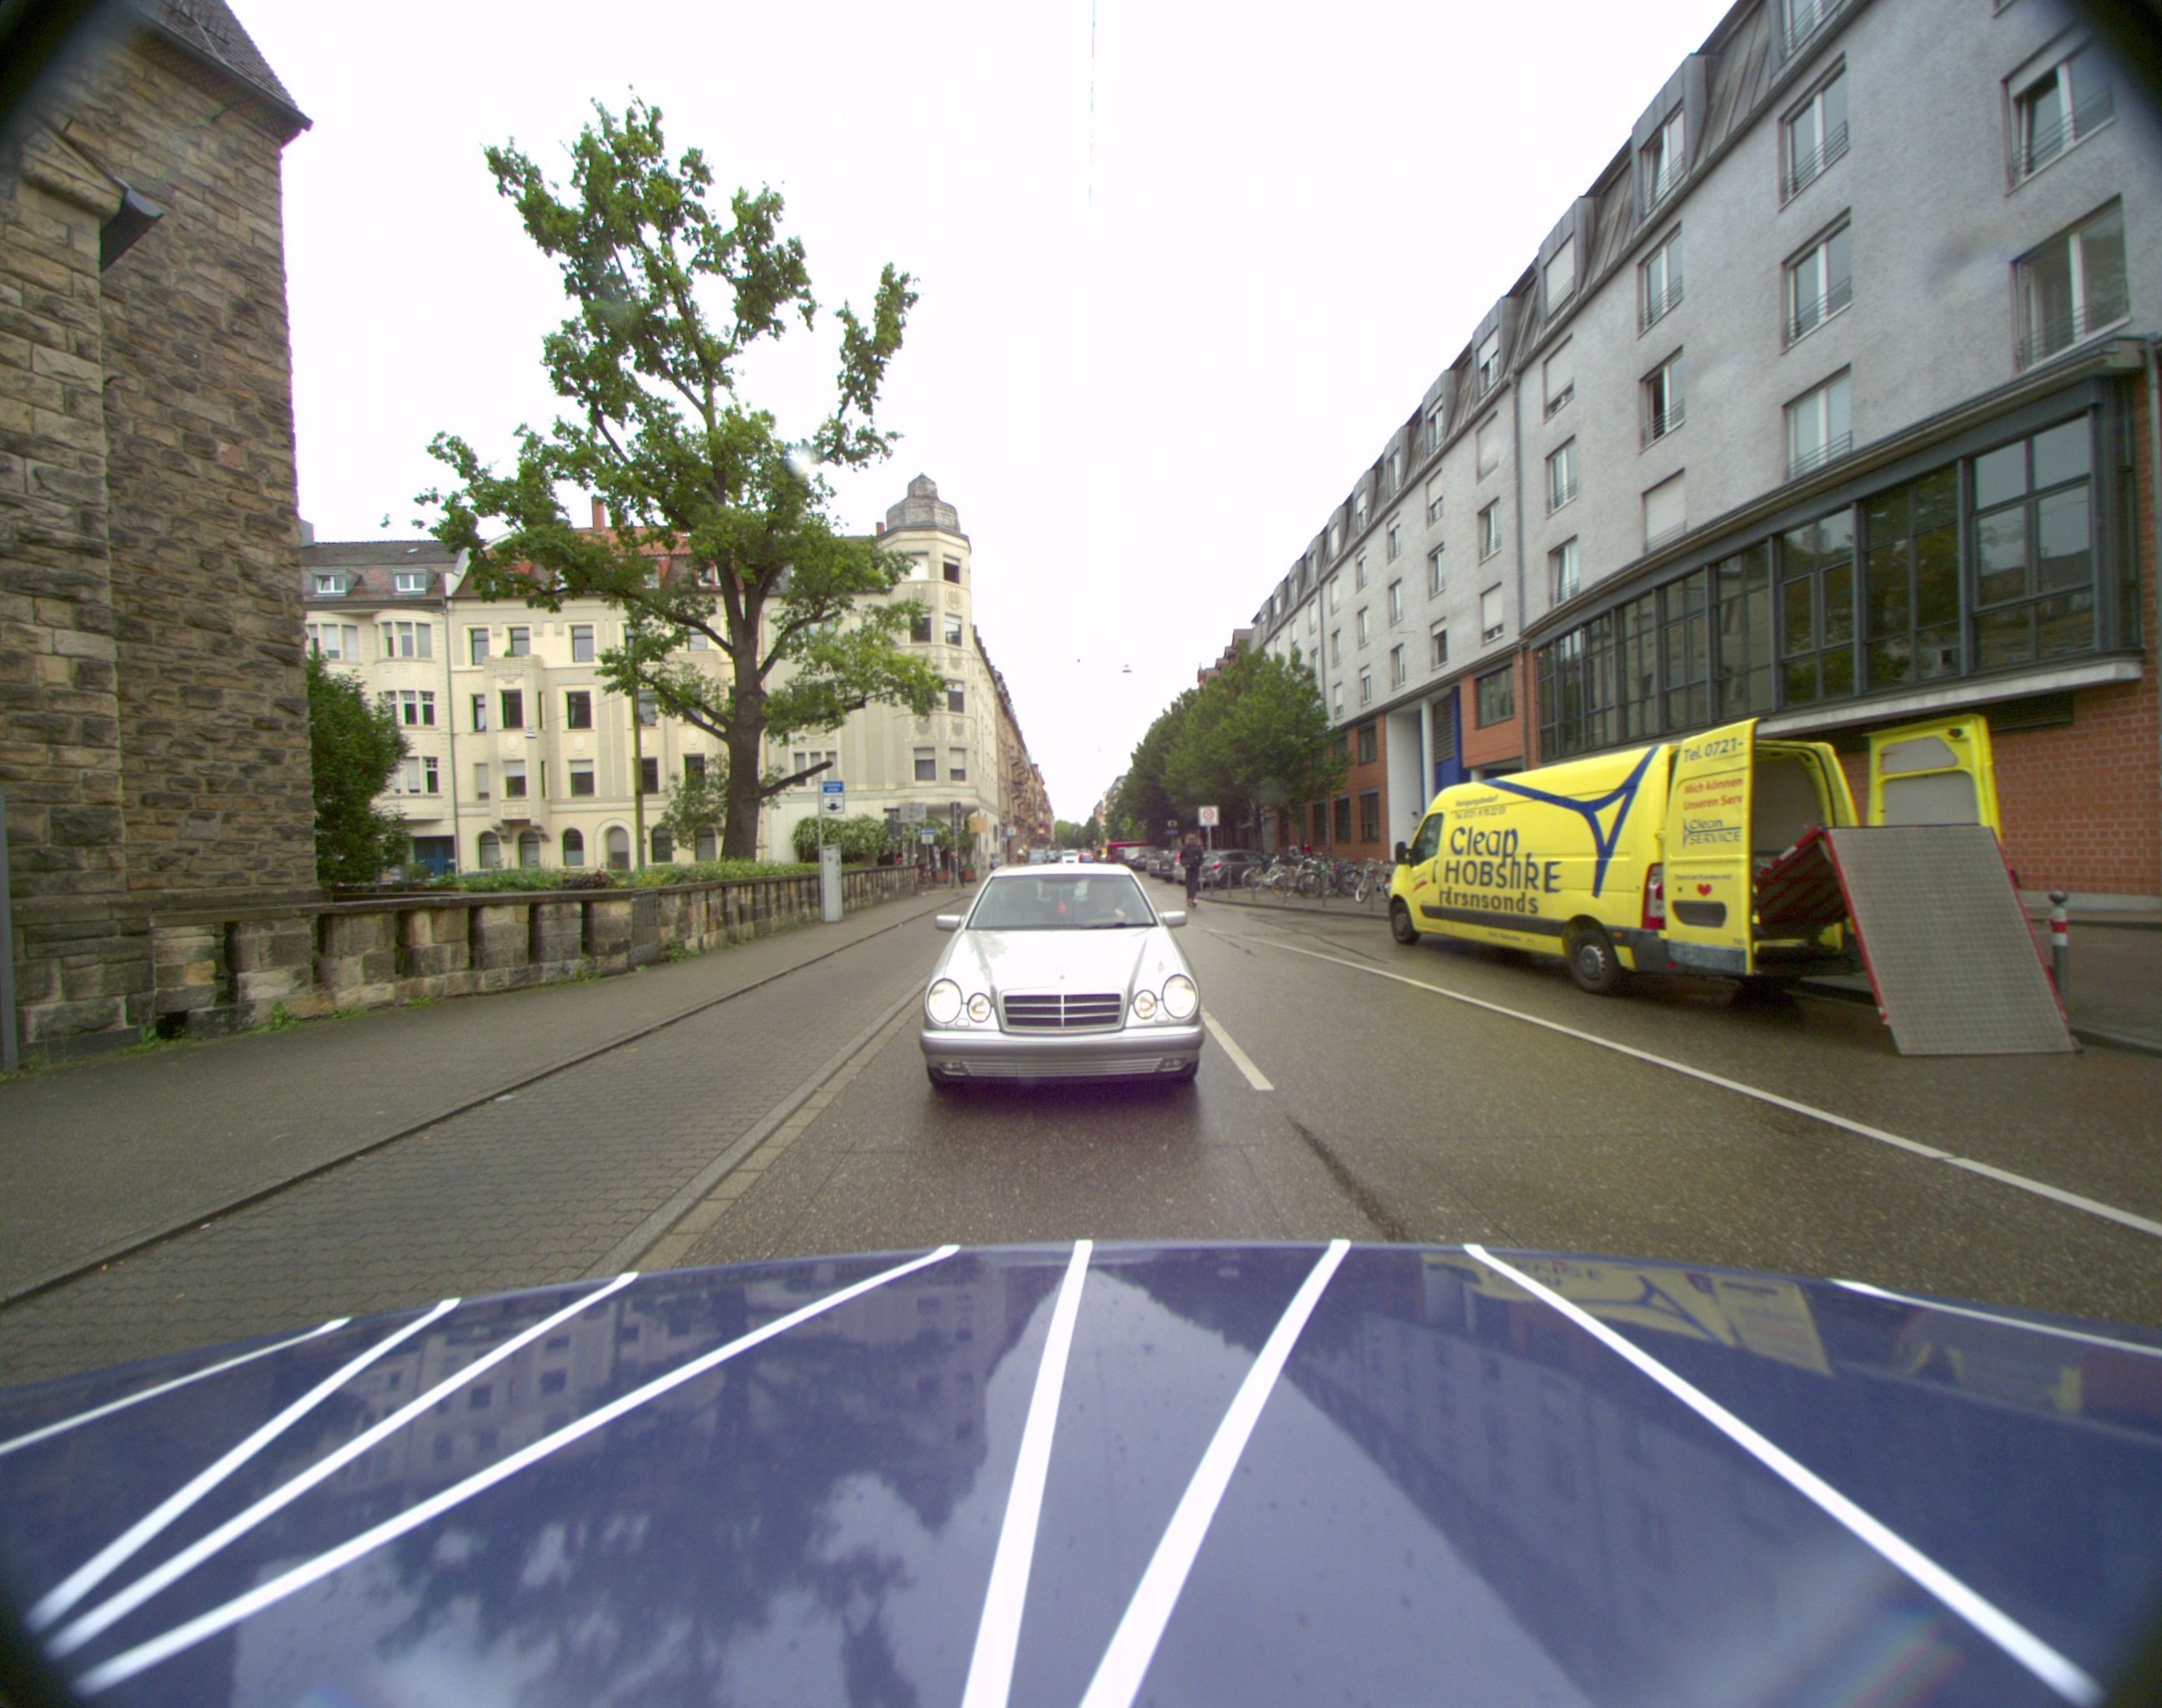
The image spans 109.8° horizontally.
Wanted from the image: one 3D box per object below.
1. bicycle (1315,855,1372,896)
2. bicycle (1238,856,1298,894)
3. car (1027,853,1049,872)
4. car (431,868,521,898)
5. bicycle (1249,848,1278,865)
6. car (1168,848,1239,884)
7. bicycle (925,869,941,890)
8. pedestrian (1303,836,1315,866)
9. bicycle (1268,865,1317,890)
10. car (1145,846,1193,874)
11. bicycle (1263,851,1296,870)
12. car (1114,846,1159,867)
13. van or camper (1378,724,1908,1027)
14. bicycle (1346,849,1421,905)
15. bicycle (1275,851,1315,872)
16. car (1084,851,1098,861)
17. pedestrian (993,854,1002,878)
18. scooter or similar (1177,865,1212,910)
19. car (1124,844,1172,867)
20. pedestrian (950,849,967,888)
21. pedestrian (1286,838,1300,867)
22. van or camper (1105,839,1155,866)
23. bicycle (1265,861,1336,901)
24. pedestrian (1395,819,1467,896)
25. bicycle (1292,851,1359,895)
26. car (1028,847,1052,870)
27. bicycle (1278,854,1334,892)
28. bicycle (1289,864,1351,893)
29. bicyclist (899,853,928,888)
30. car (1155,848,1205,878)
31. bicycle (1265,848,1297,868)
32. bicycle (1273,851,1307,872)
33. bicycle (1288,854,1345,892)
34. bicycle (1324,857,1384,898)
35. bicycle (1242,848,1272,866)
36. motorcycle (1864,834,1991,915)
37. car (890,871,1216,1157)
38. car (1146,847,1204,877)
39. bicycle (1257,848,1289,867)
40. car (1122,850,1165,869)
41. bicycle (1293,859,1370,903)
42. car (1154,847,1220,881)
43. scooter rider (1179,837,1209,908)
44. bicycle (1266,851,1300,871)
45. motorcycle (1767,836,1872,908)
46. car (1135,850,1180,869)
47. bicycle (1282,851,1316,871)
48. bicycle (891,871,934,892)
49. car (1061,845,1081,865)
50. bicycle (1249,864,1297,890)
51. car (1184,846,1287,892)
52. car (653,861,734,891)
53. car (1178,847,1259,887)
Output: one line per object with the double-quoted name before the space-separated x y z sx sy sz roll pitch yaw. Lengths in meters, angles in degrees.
"bicycle" 7.475 0.619 21.695 1.461 1.096 0.462 -3 1 14
"bicycle" 6.124 0.680 24.932 1.812 1.099 0.472 -3 1 -5
"car" -3.138 0.634 56.442 1.447 1.348 3.204 -1 0 0
"car" -29.705 1.418 37.363 3.270 1.401 1.448 -1 1 3
"bicycle" 10.793 0.132 44.981 1.590 0.979 0.465 -2 1 -8
"car" 5.603 0.531 34.597 3.084 1.494 1.449 -3 1 -40
"bicycle" -7.311 1.238 37.675 0.390 0.888 2.023 -1 3 0
"pedestrian" 12.495 -0.157 41.695 0.514 1.601 0.425 -2 1 1
"bicycle" 7.042 0.780 25.389 1.473 0.717 0.497 -3 1 3
"car" 5.331 0.387 45.978 2.685 1.546 1.148 -3 1 -29
"bicycle" 10.469 0.338 40.027 1.590 0.979 0.445 -2 1 -8
"car" 5.188 0.220 70.674 4.338 1.822 1.571 -1 1 -41
"van or camper" 6.047 0.168 9.559 2.201 2.596 5.941 -1 0 -1
"bicycle" 7.607 0.553 19.079 1.922 1.209 0.768 -6 3 -35
"bicycle" 10.605 0.380 37.639 1.851 0.979 0.445 -2 1 -8
"car" 1.301 0.238 98.220 1.651 1.301 3.311 -1 0 -3
"pedestrian" -5.036 0.723 45.668 0.482 1.452 0.392 -1 1 -1
"scooter or similar" 3.110 0.907 20.862 0.702 1.158 1.385 -1 1 -2
"car" 5.978 0.119 67.162 4.338 1.884 1.685 -1 1 -41
"pedestrian" -5.901 0.706 36.669 0.646 1.862 0.693 -1 1 0
"pedestrian" 11.665 -0.091 41.866 0.605 1.601 0.372 -2 1 -1
"van or camper" 4.963 -0.128 76.595 4.604 2.597 1.999 -1 1 -27
"bicycle" 6.132 0.744 21.254 1.800 0.987 0.520 -3 1 -2
"pedestrian" 9.148 0.089 19.923 1.228 1.870 1.055 -6 1 0
"bicycle" 7.257 0.559 22.553 1.815 1.187 0.519 -3 1 -13
"car" -3.309 0.315 61.510 1.726 1.794 3.462 -1 0 0
"bicycle" 7.228 0.600 24.447 1.610 1.099 0.520 -3 1 -5
"bicycle" 7.276 0.751 23.145 1.773 0.757 0.456 -3 1 -13
"bicyclist" -7.527 0.741 34.159 1.133 1.521 0.537 -2 1 3
"car" 5.313 0.479 40.714 2.506 1.442 1.191 -3 1 -40
"bicycle" 10.678 0.210 40.646 1.590 0.979 0.445 -2 1 -8
"bicycle" 10.477 0.374 38.112 1.590 0.979 0.445 -2 1 -8
"bicycle" 7.377 0.582 23.801 1.611 1.099 0.519 -3 1 -13
"bicycle" 7.497 0.642 20.921 1.462 1.058 0.418 -3 1 4
"bicycle" 10.208 0.160 44.086 1.590 0.979 0.465 -2 1 -8
"motorcycle" 13.275 0.284 11.983 0.524 1.174 1.760 -3 1 19
"car" -0.152 0.931 6.201 1.764 1.420 3.999 -2 0 0
"car" 5.362 0.456 43.222 2.985 1.546 1.369 -3 1 -29
"bicycle" 10.561 0.192 41.811 1.590 0.979 0.465 -2 1 -8
"car" 5.190 0.443 62.931 1.685 1.482 3.799 0 1 40
"bicycle" 6.712 0.716 20.417 1.858 1.067 0.609 -3 1 5
"car" 5.242 0.486 37.481 3.084 1.543 1.449 -3 1 -40
"scooter rider" 3.098 0.500 20.874 0.712 1.924 0.503 -1 1 -2
"bicycle" 10.427 0.355 39.235 1.590 0.979 0.445 -2 1 -8
"motorcycle" 13.071 0.288 13.519 0.524 1.174 2.006 -3 1 19
"car" 6.129 0.414 60.415 1.685 1.482 3.799 0 1 40
"bicycle" 11.101 0.354 38.656 1.590 0.979 0.445 -2 1 -8
"bicycle" -7.587 1.243 34.178 1.779 0.879 0.537 -2 1 3
"car" -1.038 0.106 81.586 1.998 2.002 4.000 -1 1 1
"bicycle" 6.564 0.786 26.017 1.473 0.800 0.497 -3 1 3
"car" 5.919 0.538 29.062 3.629 1.494 1.736 -3 2 -31
"car" -19.253 1.104 37.856 3.270 1.401 1.448 -1 1 3
"car" 5.794 0.539 31.989 3.083 1.494 1.449 -3 1 -31
